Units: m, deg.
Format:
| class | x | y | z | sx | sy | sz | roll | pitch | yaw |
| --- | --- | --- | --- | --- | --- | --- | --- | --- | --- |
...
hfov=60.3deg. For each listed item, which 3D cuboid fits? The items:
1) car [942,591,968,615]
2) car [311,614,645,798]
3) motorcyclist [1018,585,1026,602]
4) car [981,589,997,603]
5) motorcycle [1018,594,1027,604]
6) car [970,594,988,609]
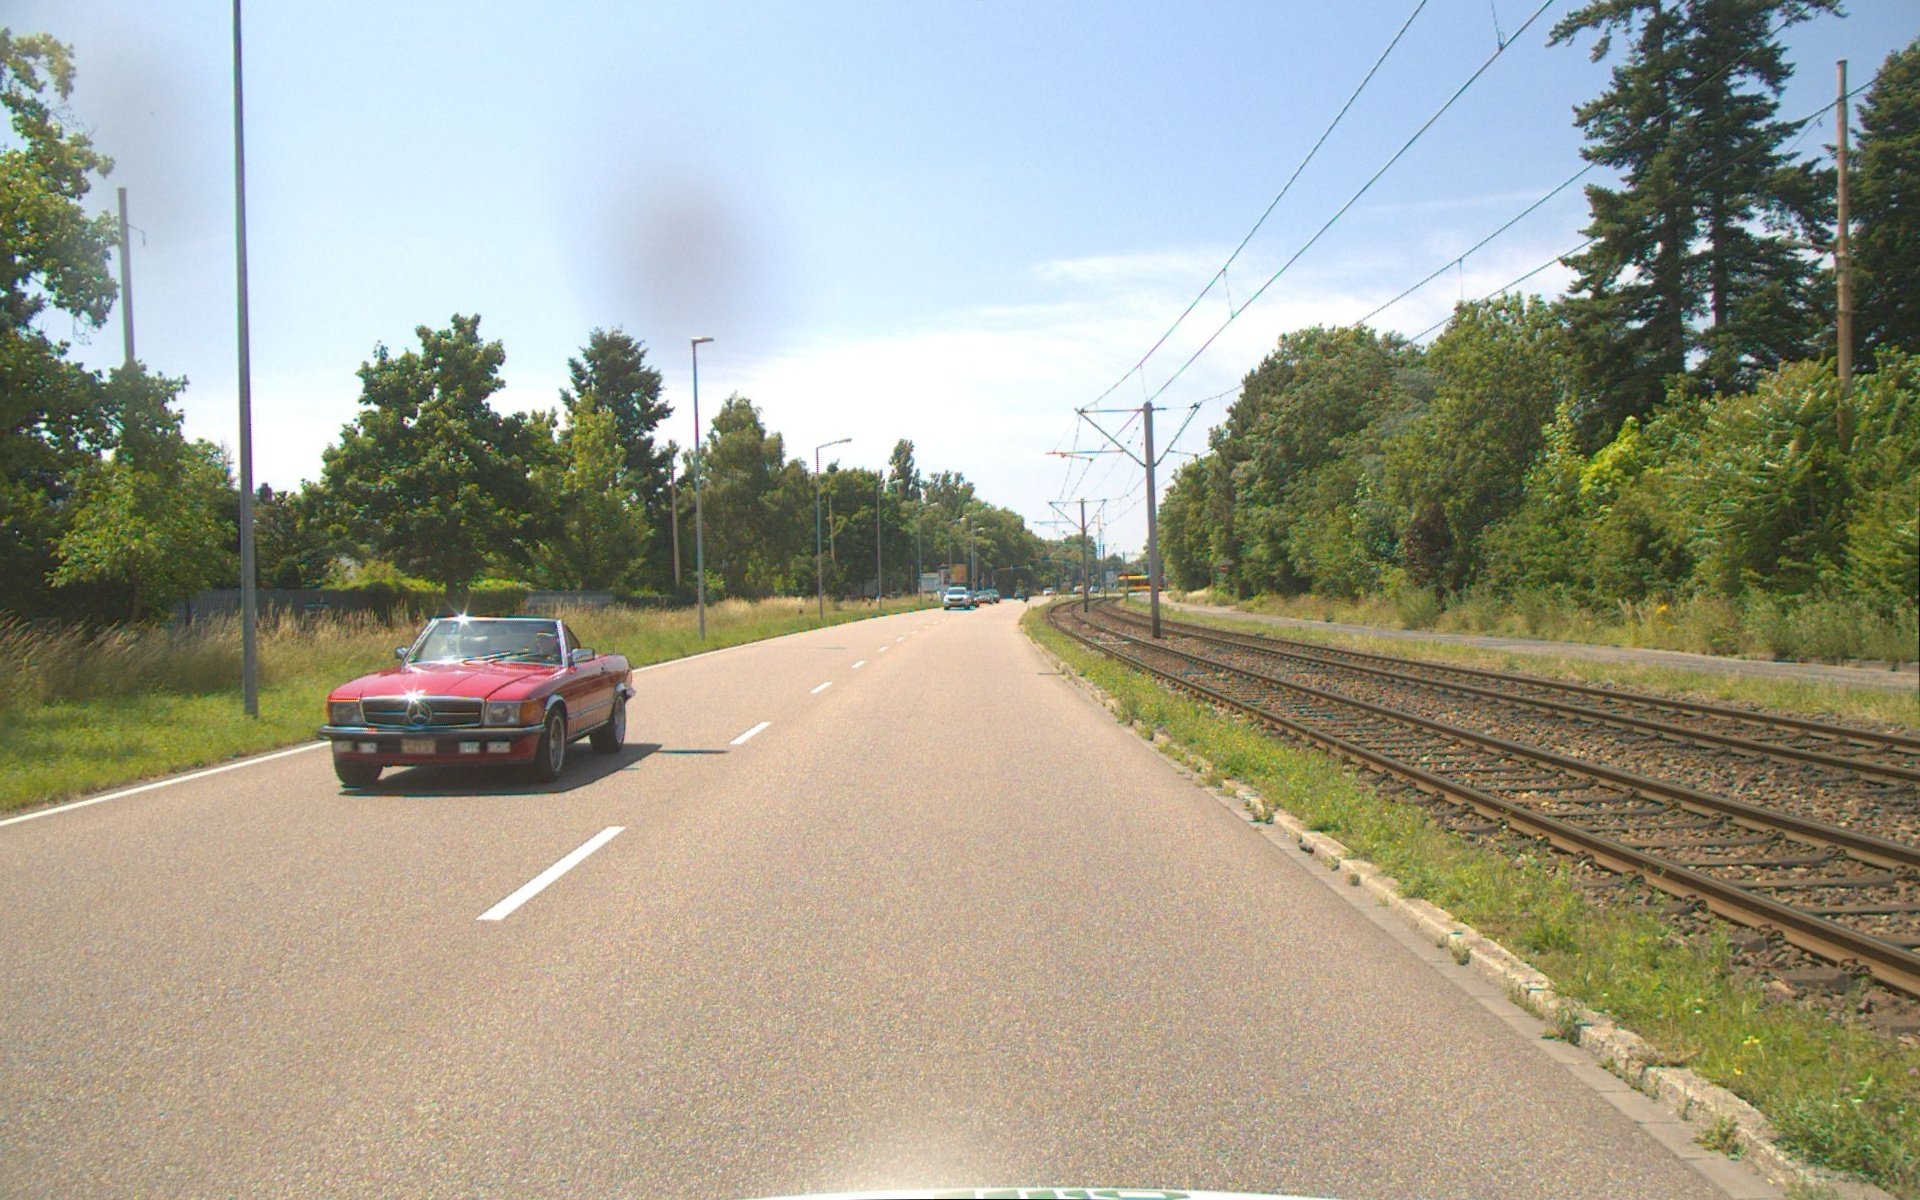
| class | x | y | z | sx | sy | sz | roll | pitch | yaw |
| --- | --- | --- | --- | --- | --- | --- | --- | --- | --- |
| car | -0.383 | 0.223 | 131.066 | 1.895 | 1.827 | 4.712 | -1 | 0 | 2 |
| car | -3.994 | 0.803 | 14.440 | 1.713 | 1.324 | 4.252 | -1 | 0 | -1 |
| motorcyclist | 7.193 | -0.739 | 191.663 | 0.873 | 1.938 | 1.016 | -1 | 0 | 3 |
| car | 3.308 | -0.418 | 190.211 | 1.780 | 1.565 | 4.364 | -1 | 0 | 2 |
| motorcycle | 7.215 | -0.094 | 191.662 | 0.950 | 1.137 | 2.734 | -1 | 0 | 3 |
| car | 2.003 | 0.150 | 175.097 | 1.780 | 1.519 | 4.364 | -1 | 0 | 2 |
